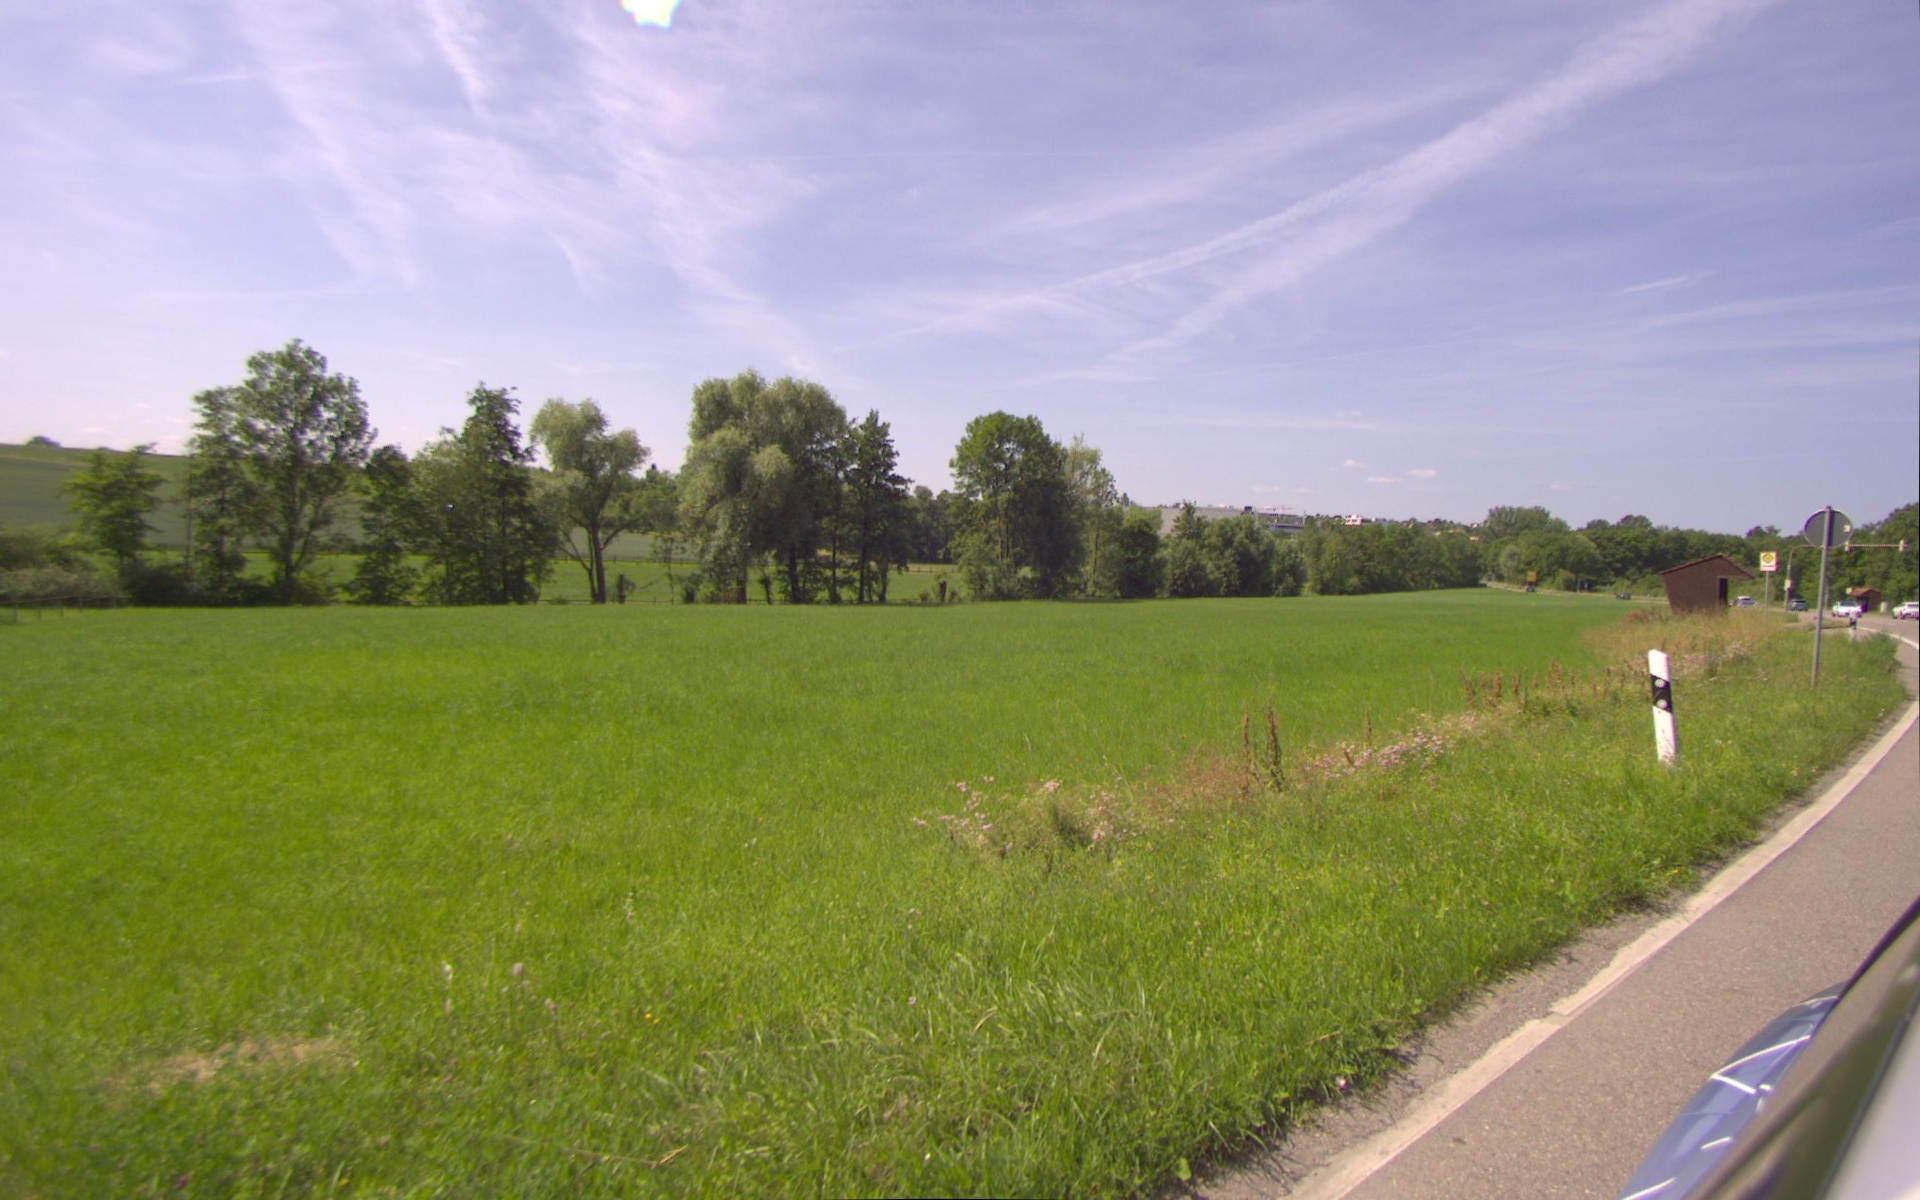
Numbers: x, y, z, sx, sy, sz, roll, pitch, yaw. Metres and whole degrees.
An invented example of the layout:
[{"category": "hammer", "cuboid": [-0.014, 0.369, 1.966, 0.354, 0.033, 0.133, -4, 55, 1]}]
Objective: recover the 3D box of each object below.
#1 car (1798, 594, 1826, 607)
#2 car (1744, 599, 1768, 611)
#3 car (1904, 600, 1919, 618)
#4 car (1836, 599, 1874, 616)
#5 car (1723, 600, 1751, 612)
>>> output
[{"category": "car", "cuboid": [107.611, 0.066, 127.847, 1.695, 1.501, 3.798, 1, 0, 26]}, {"category": "car", "cuboid": [116.120, 0.727, 147.652, 1.961, 1.582, 4.149, 1, 0, 27]}, {"category": "car", "cuboid": [85.550, 0.765, 89.607, 1.927, 1.568, 4.578, 1, 0, 30]}, {"category": "car", "cuboid": [85.107, 0.703, 96.313, 1.984, 1.605, 3.956, 1, 0, 31]}, {"category": "car", "cuboid": [104.900, 0.781, 136.656, 1.976, 1.605, 3.972, 1, 0, 21]}]
